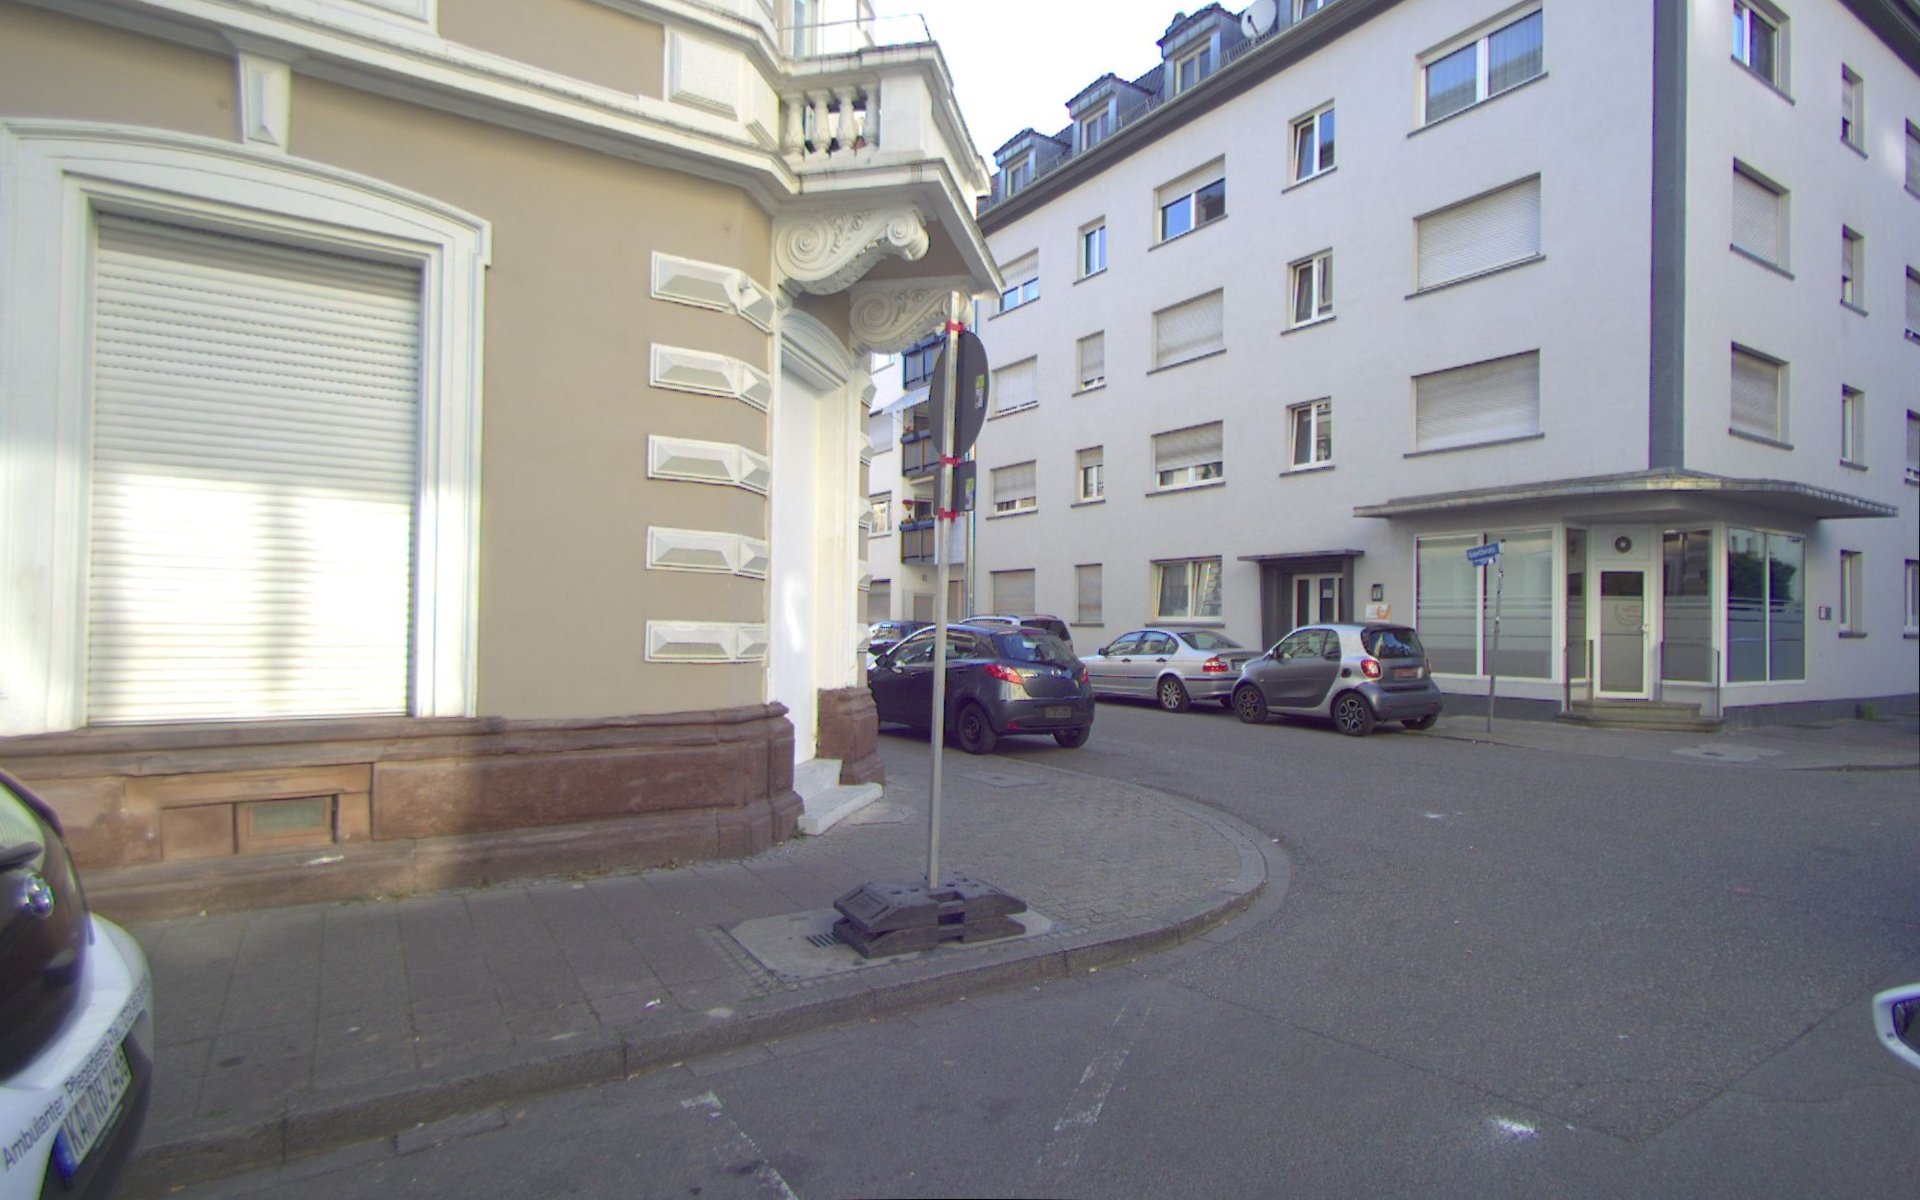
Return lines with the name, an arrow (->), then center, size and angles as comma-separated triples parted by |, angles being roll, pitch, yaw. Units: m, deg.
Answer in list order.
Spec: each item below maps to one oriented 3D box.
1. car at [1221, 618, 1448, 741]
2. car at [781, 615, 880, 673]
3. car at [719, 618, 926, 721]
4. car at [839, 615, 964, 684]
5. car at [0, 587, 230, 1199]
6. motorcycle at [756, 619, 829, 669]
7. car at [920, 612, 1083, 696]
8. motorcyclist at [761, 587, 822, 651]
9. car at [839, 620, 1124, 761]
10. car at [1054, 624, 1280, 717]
car -> 5.479, 1.094, 14.939 | 1.576, 1.560, 2.771 | 1, 0, -31
car -> -3.941, 1.290, 30.272 | 1.586, 1.560, 3.470 | 1, 0, -33
car -> -2.436, 1.060, 16.837 | 1.884, 1.481, 4.286 | 1, -1, -32
car -> -1.593, 1.243, 26.293 | 1.587, 1.560, 3.685 | 1, 0, -34
car -> -3.428, 0.766, 0.965 | 4.218, 1.527, 1.911 | 1, -3, -31
motorcycle -> -3.696, 0.951, 22.048 | 0.961, 1.042, 1.981 | 1, -1, -30
car -> 0.831, 1.131, 22.480 | 1.586, 1.626, 3.993 | 1, 0, -33
motorcyclist -> -3.722, 0.421, 22.113 | 0.961, 1.347, 1.218 | 1, -1, -30
car -> 0.136, 1.004, 12.571 | 1.713, 1.470, 3.639 | 1, -1, -36
car -> 3.653, 1.208, 18.437 | 1.586, 1.422, 4.179 | 1, -1, -33
